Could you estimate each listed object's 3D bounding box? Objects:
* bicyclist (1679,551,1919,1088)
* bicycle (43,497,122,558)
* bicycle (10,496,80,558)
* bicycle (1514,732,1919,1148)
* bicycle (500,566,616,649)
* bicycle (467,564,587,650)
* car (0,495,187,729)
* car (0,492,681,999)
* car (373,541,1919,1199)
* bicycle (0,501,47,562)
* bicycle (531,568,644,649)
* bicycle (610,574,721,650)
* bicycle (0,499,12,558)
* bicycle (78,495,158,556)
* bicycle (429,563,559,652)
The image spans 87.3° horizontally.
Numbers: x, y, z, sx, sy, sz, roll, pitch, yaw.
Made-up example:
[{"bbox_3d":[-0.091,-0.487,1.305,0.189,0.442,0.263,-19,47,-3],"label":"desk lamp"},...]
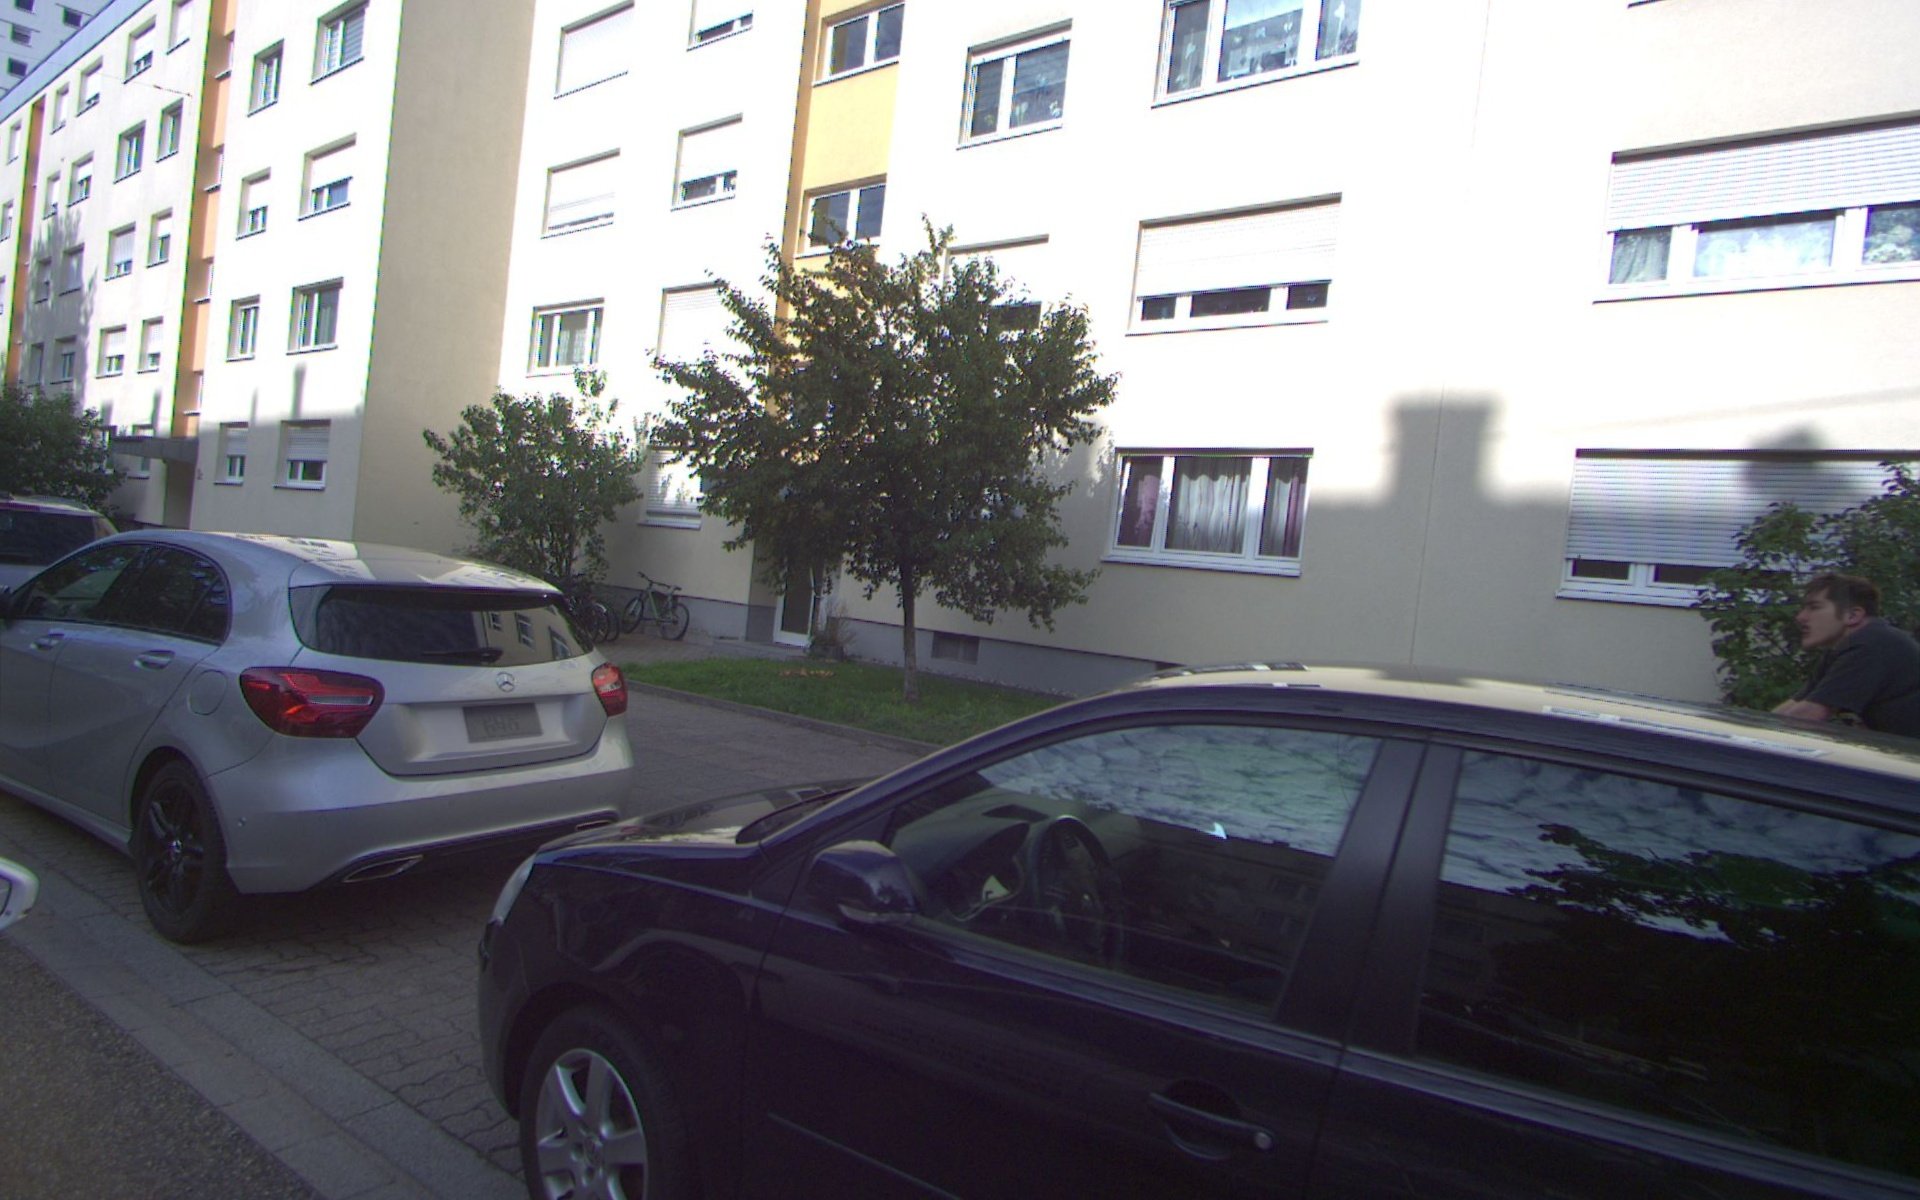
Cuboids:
[{"bbox_3d":[3.225,0.736,3.570,0.878,1.699,0.624,7,1,31],"label":"bicyclist"},{"bbox_3d":[-21.811,-1.812,24.997,2.592,1.308,0.727,6,2,33],"label":"bicycle"},{"bbox_3d":[-22.198,-1.780,24.382,2.592,1.309,0.595,6,4,33],"label":"bicycle"},{"bbox_3d":[3.140,1.211,3.604,1.897,1.149,0.524,7,1,32],"label":"bicycle"},{"bbox_3d":[-6.121,0.097,15.268,2.035,1.045,0.501,6,4,32],"label":"bicycle"},{"bbox_3d":[-6.400,0.085,14.827,2.061,1.045,0.501,6,4,32],"label":"bicycle"},{"bbox_3d":[-7.971,-0.096,7.840,4.223,1.505,1.684,7,1,32],"label":"car"},{"bbox_3d":[-3.527,0.351,4.920,4.109,1.482,1.701,7,1,30],"label":"car"},{"bbox_3d":[0.708,0.844,2.120,3.809,1.521,1.684,7,1,31],"label":"car"},{"bbox_3d":[-22.550,-1.664,23.883,2.592,1.308,0.604,6,3,33],"label":"bicycle"},{"bbox_3d":[-5.834,0.115,15.693,1.992,1.045,0.501,6,4,32],"label":"bicycle"},{"bbox_3d":[-4.961,0.182,16.862,2.100,1.045,0.501,6,4,33],"label":"bicycle"},{"bbox_3d":[-22.858,-1.746,23.327,2.592,1.308,0.604,6,2,33],"label":"bicycle"},{"bbox_3d":[-21.471,-1.906,25.641,2.592,1.307,0.727,6,0,33],"label":"bicycle"},{"bbox_3d":[-6.628,0.084,14.268,2.084,1.045,0.593,6,3,32],"label":"bicycle"}]
